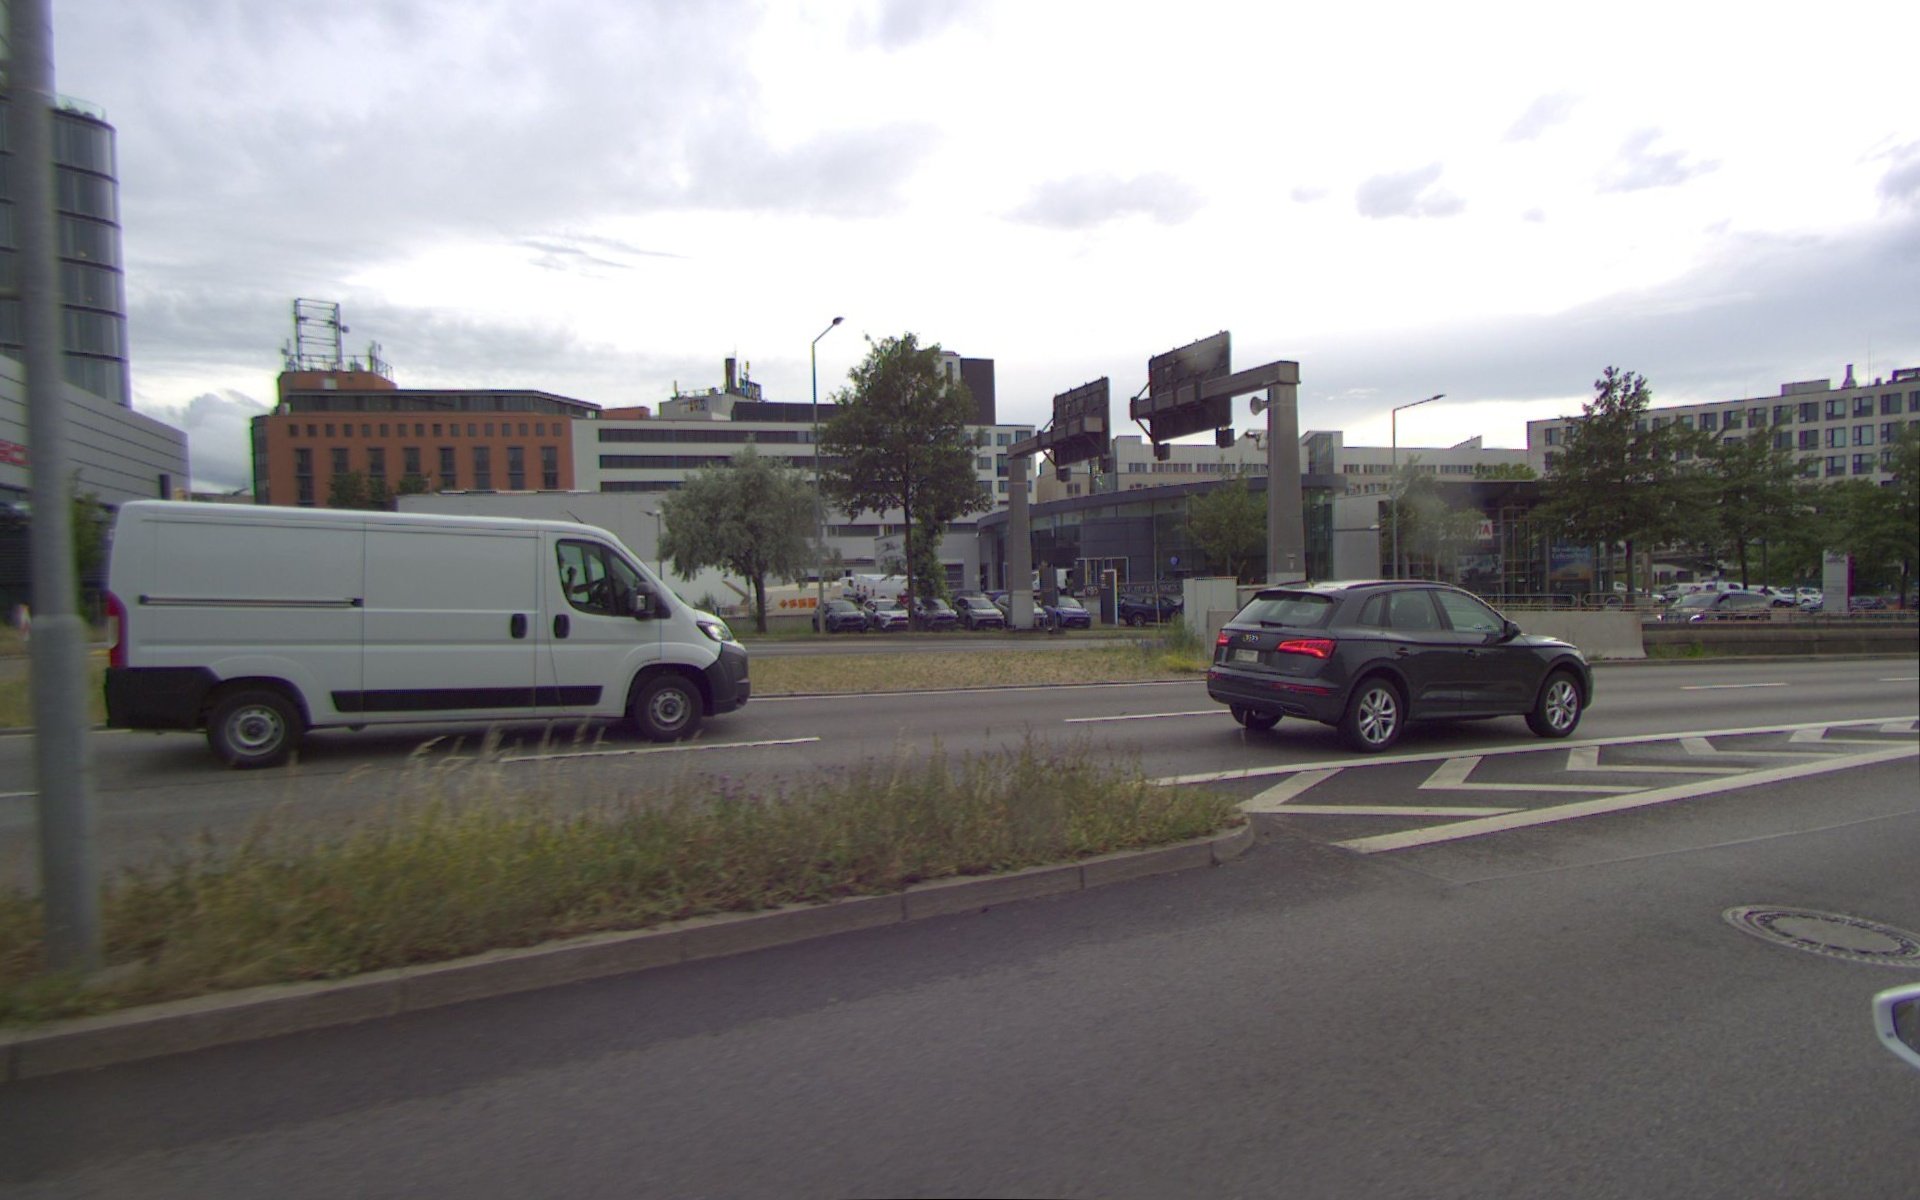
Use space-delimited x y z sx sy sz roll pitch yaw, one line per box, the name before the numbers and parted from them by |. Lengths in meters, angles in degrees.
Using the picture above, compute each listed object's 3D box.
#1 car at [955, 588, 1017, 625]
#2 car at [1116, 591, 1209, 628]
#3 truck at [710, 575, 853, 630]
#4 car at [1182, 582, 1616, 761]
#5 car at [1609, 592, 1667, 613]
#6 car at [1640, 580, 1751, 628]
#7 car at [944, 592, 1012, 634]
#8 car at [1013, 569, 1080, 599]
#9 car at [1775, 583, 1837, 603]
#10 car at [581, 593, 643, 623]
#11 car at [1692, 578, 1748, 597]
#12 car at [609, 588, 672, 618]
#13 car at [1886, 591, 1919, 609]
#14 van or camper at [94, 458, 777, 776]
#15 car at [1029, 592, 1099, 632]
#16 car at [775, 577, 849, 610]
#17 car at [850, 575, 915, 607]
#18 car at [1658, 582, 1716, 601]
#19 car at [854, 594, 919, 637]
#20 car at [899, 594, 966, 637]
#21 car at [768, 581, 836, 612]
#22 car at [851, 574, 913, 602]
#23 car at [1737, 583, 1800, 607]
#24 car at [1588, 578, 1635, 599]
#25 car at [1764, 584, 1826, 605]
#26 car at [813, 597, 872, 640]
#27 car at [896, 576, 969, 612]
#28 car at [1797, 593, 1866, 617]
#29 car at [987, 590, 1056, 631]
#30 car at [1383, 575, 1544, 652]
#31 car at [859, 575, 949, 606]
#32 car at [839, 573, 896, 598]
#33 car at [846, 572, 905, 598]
car | 1.360 0.286 54.024 1.895 1.707 3.978 -2 4 -22
car | 10.568 0.471 52.482 4.416 1.707 1.921 -1 3 -5
truck | -9.651 0.049 54.370 7.300 2.563 2.361 -2 4 -21
car | 4.871 0.662 11.021 4.686 1.639 1.745 1 1 -26
car | 61.656 0.209 91.401 1.968 1.673 3.983 -2 4 -17
car | 30.345 0.123 41.459 3.944 1.774 1.988 -2 4 -24
car | 0.835 0.581 48.847 1.895 1.707 3.978 -2 4 -22
car | 5.646 -1.061 65.767 3.936 1.807 1.915 1 4 37
car | 79.417 -0.681 94.349 1.968 1.673 3.983 -2 4 -17
car | -23.651 0.513 68.404 1.960 1.729 3.999 0 4 18
car | 74.585 -1.216 98.609 1.797 1.673 3.973 -3 4 -26
car | -20.969 0.175 66.096 1.960 1.729 3.999 0 4 18
car | 80.438 0.035 83.991 1.822 1.372 3.980 0 3 -21
van or camper | -4.814 0.171 10.079 5.461 2.471 2.195 1 0 -28
car | 5.187 0.541 50.621 1.895 1.707 3.978 -2 4 -22
car | -8.589 -0.380 58.228 3.936 1.707 1.915 -2 4 -18
car | -5.146 -0.651 66.733 3.936 1.907 1.992 -2 4 -17
car | 68.844 -0.842 95.125 1.972 1.673 3.975 -1 3 -25
car | -3.492 0.677 46.982 1.895 1.707 3.978 -2 4 -22
car | -1.350 0.691 47.886 1.895 1.707 3.978 -2 4 -22
car | -9.916 -0.228 63.110 3.936 1.707 1.915 -2 4 -18
car | -5.418 -0.866 69.394 3.936 1.707 1.915 -2 4 -18
car | 72.617 -0.465 90.328 1.968 1.902 3.983 -2 4 -17
car | 68.533 -1.272 105.736 3.928 2.077 1.996 1 4 29
car | 77.259 -0.510 92.996 1.968 1.673 3.983 -2 4 -17
car | -5.436 0.803 46.147 1.674 1.622 3.992 -2 4 -22
car | -1.663 -0.396 59.522 3.936 1.907 1.900 -2 4 -17
car | 68.904 0.380 79.511 3.936 1.673 1.992 3 3 38
car | 2.993 0.478 49.871 1.895 1.707 3.978 -2 4 -22
car | 12.137 0.267 24.224 3.500 1.612 1.682 -3 4 -25
car | -3.612 -0.641 64.718 5.447 1.907 1.992 0 3 -18
car | -6.879 -1.110 74.575 3.936 1.707 1.915 -2 4 -18
car | -6.097 -1.095 72.375 3.936 1.707 1.915 -2 4 -18
